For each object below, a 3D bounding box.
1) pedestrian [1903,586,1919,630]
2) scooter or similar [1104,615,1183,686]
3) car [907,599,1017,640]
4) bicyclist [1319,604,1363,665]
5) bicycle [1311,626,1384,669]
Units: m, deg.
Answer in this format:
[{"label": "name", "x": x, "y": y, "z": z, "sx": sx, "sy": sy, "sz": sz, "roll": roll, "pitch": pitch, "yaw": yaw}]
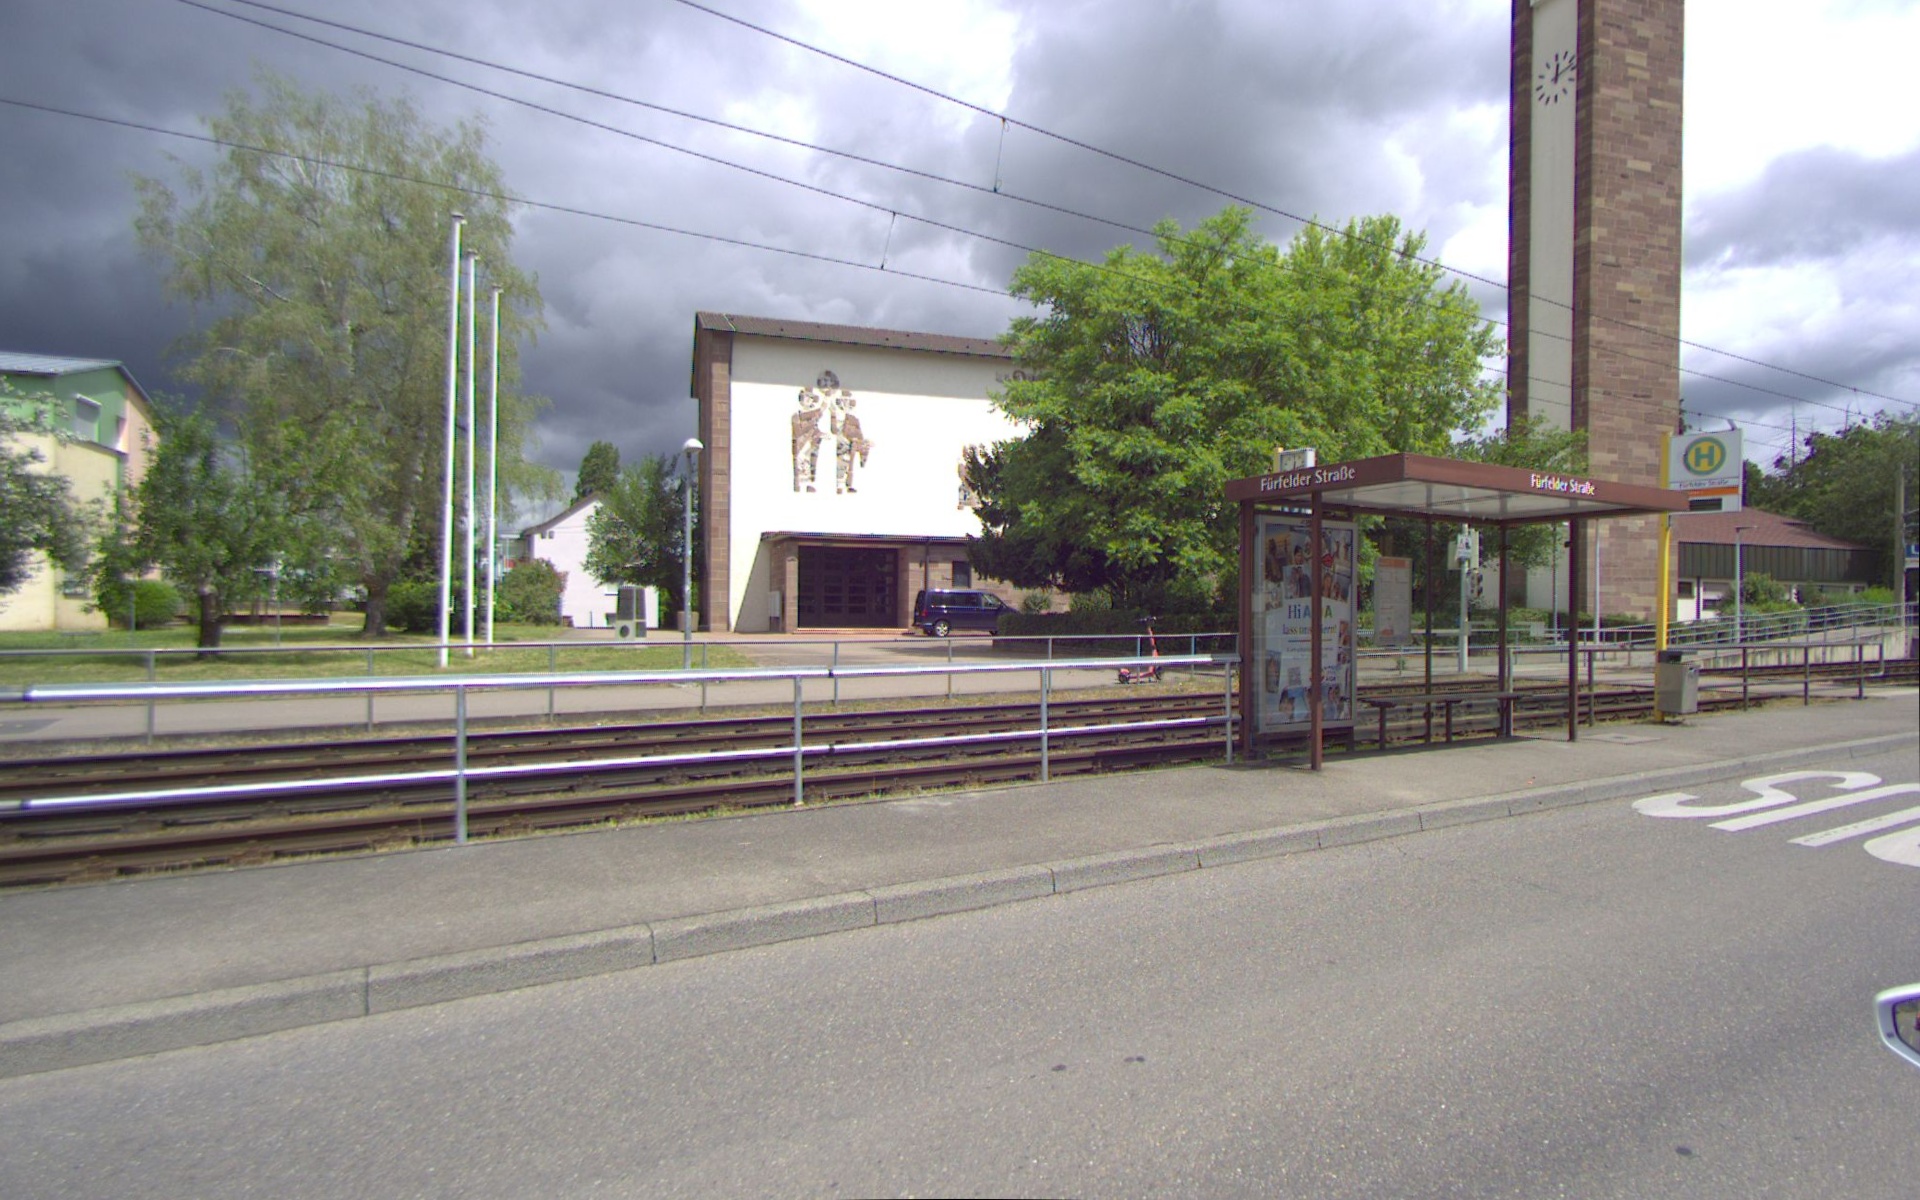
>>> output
[{"label": "pedestrian", "x": 38.938, "y": 0.322, "z": 40.891, "sx": 0.569, "sy": 1.801, "sz": 0.581, "roll": 1, "pitch": 1, "yaw": -30}, {"label": "scooter or similar", "x": 3.473, "y": 0.937, "z": 19.002, "sx": 1.384, "sy": 1.254, "sz": 0.646, "roll": 0, "pitch": 2, "yaw": -30}, {"label": "car", "x": 0.063, "y": 0.813, "z": 43.205, "sx": 4.399, "sy": 1.595, "sz": 1.995, "roll": 1, "pitch": 1, "yaw": -13}, {"label": "bicyclist", "x": 9.314, "y": 0.834, "z": 24.547, "sx": 0.781, "sy": 1.448, "sz": 0.630, "roll": 1, "pitch": 1, "yaw": -31}, {"label": "bicycle", "x": 9.528, "y": 1.152, "z": 24.677, "sx": 1.906, "sy": 1.007, "sz": 0.634, "roll": 1, "pitch": 1, "yaw": -31}]
